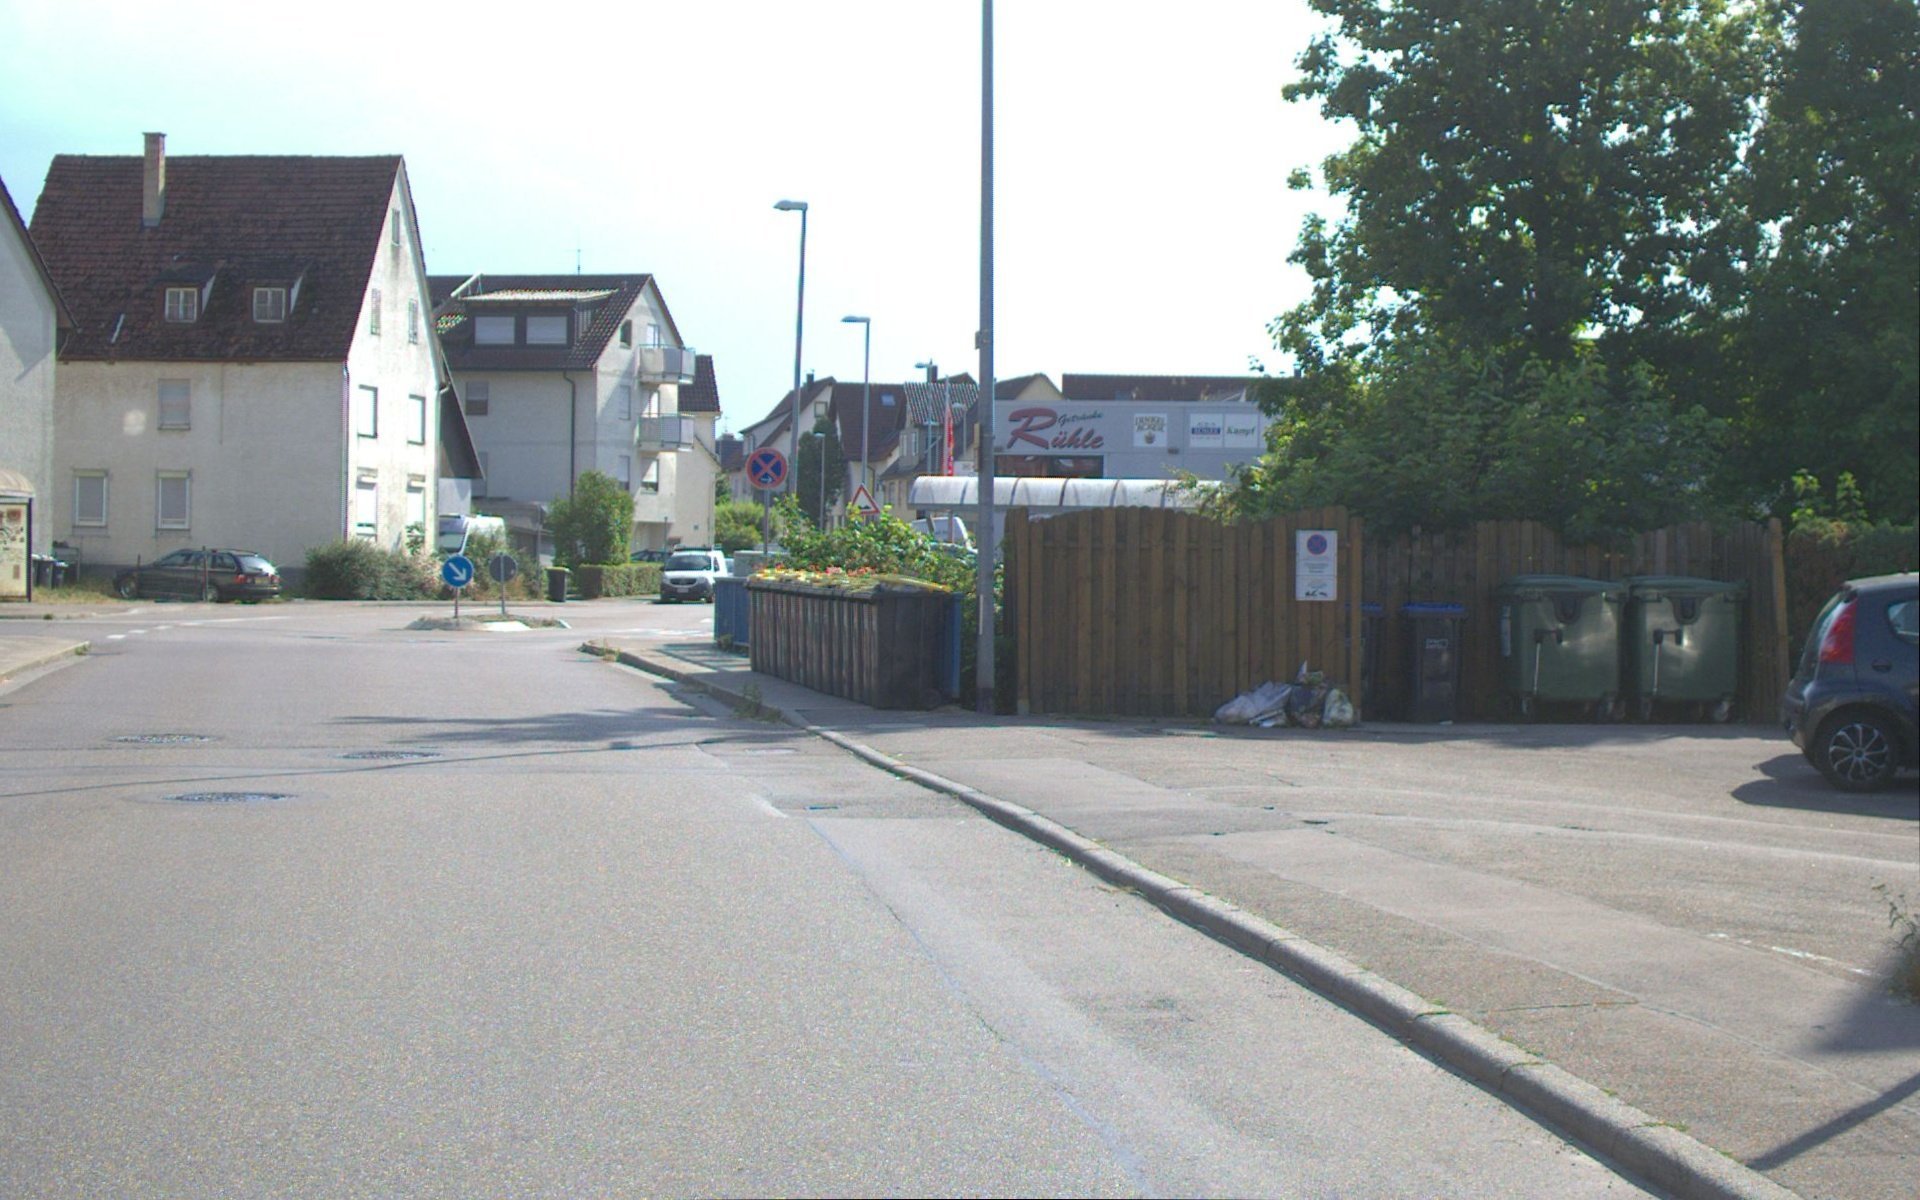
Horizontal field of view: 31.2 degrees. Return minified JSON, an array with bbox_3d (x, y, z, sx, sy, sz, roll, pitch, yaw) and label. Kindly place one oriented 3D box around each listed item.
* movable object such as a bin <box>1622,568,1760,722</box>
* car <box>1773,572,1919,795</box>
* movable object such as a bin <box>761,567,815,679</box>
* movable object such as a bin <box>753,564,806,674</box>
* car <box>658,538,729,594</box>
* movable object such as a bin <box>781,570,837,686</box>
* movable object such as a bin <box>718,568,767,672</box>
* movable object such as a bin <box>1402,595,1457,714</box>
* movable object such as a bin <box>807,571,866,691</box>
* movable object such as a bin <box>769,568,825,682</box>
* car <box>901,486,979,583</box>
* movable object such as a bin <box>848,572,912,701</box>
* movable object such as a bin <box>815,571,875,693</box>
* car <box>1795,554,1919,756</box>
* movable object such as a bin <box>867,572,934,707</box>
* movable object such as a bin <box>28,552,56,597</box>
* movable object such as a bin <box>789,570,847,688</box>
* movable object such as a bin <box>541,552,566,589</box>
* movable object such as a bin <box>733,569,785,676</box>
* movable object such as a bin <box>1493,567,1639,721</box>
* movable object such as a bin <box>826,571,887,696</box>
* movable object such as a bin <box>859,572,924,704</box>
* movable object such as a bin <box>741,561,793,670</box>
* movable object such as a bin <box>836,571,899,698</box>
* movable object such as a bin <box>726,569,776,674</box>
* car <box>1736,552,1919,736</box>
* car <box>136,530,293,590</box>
[{"bbox_3d":[6.596,0.398,31.075,1.041,1.332,1.004,1,1,3],"label":"movable object such as a bin"},{"bbox_3d":[7.303,0.581,23.642,3.210,1.445,1.649,1,2,10],"label":"car"},{"bbox_3d":[-1.766,0.236,35.332,0.478,1.139,0.539,0,1,-11],"label":"movable object such as a bin"},{"bbox_3d":[-1.887,0.197,35.926,0.478,1.139,0.539,0,1,-11],"label":"movable object such as a bin"},{"bbox_3d":[-8.988,-1.166,116.251,1.716,1.866,4.191,0,1,5],"label":"car"},{"bbox_3d":[-1.501,0.275,34.151,0.478,1.139,0.565,0,1,-11],"label":"movable object such as a bin"},{"bbox_3d":[-2.429,0.220,38.327,0.478,1.139,0.539,0,1,-11],"label":"movable object such as a bin"},{"bbox_3d":[4.238,0.489,31.056,0.431,1.041,0.441,1,1,3],"label":"movable object such as a bin"},{"bbox_3d":[-1.182,0.291,32.935,0.478,1.139,0.539,0,1,-11],"label":"movable object such as a bin"},{"bbox_3d":[-1.648,0.251,34.717,0.478,1.139,0.539,0,1,-11],"label":"movable object such as a bin"},{"bbox_3d":[-0.469,-1.623,86.482,1.836,2.367,5.178,0,1,1],"label":"car"},{"bbox_3d":[-0.716,0.321,30.593,0.478,1.139,0.543,0,1,-11],"label":"movable object such as a bin"},{"bbox_3d":[-1.082,0.298,32.356,0.478,1.139,0.539,0,1,-11],"label":"movable object such as a bin"},{"bbox_3d":[7.967,0.421,25.808,3.128,1.445,1.576,1,2,8],"label":"car"},{"bbox_3d":[-0.512,0.335,29.479,0.478,1.139,0.539,0,1,-11],"label":"movable object such as a bin"},{"bbox_3d":[-21.856,-0.603,81.867,0.361,1.038,0.557,1,-1,21],"label":"movable object such as a bin"},{"bbox_3d":[-1.388,0.282,33.551,0.478,1.139,0.539,0,1,-11],"label":"movable object such as a bin"},{"bbox_3d":[-12.381,-0.898,104.642,0.611,1.097,0.576,2,0,5],"label":"movable object such as a bin"},{"bbox_3d":[-2.172,0.236,37.141,0.478,1.139,0.539,0,1,-11],"label":"movable object such as a bin"},{"bbox_3d":[5.474,0.384,31.118,1.152,1.332,1.046,1,1,3],"label":"movable object such as a bin"},{"bbox_3d":[-0.958,0.306,31.788,0.478,1.139,0.539,0,1,-11],"label":"movable object such as a bin"},{"bbox_3d":[-0.602,0.329,30.031,0.478,1.139,0.539,0,1,-11],"label":"movable object such as a bin"},{"bbox_3d":[-2.050,0.160,36.547,0.478,1.139,0.539,0,1,-11],"label":"movable object such as a bin"},{"bbox_3d":[-0.843,0.313,31.228,0.478,1.139,0.539,0,1,-11],"label":"movable object such as a bin"},{"bbox_3d":[-2.297,0.229,37.721,0.478,1.139,0.539,0,1,-11],"label":"movable object such as a bin"},{"bbox_3d":[8.449,0.371,28.557,3.744,1.445,1.636,1,2,8],"label":"car"},{"bbox_3d":[-19.733,-1.072,90.978,3.994,1.428,1.650,3,1,32],"label":"car"}]
